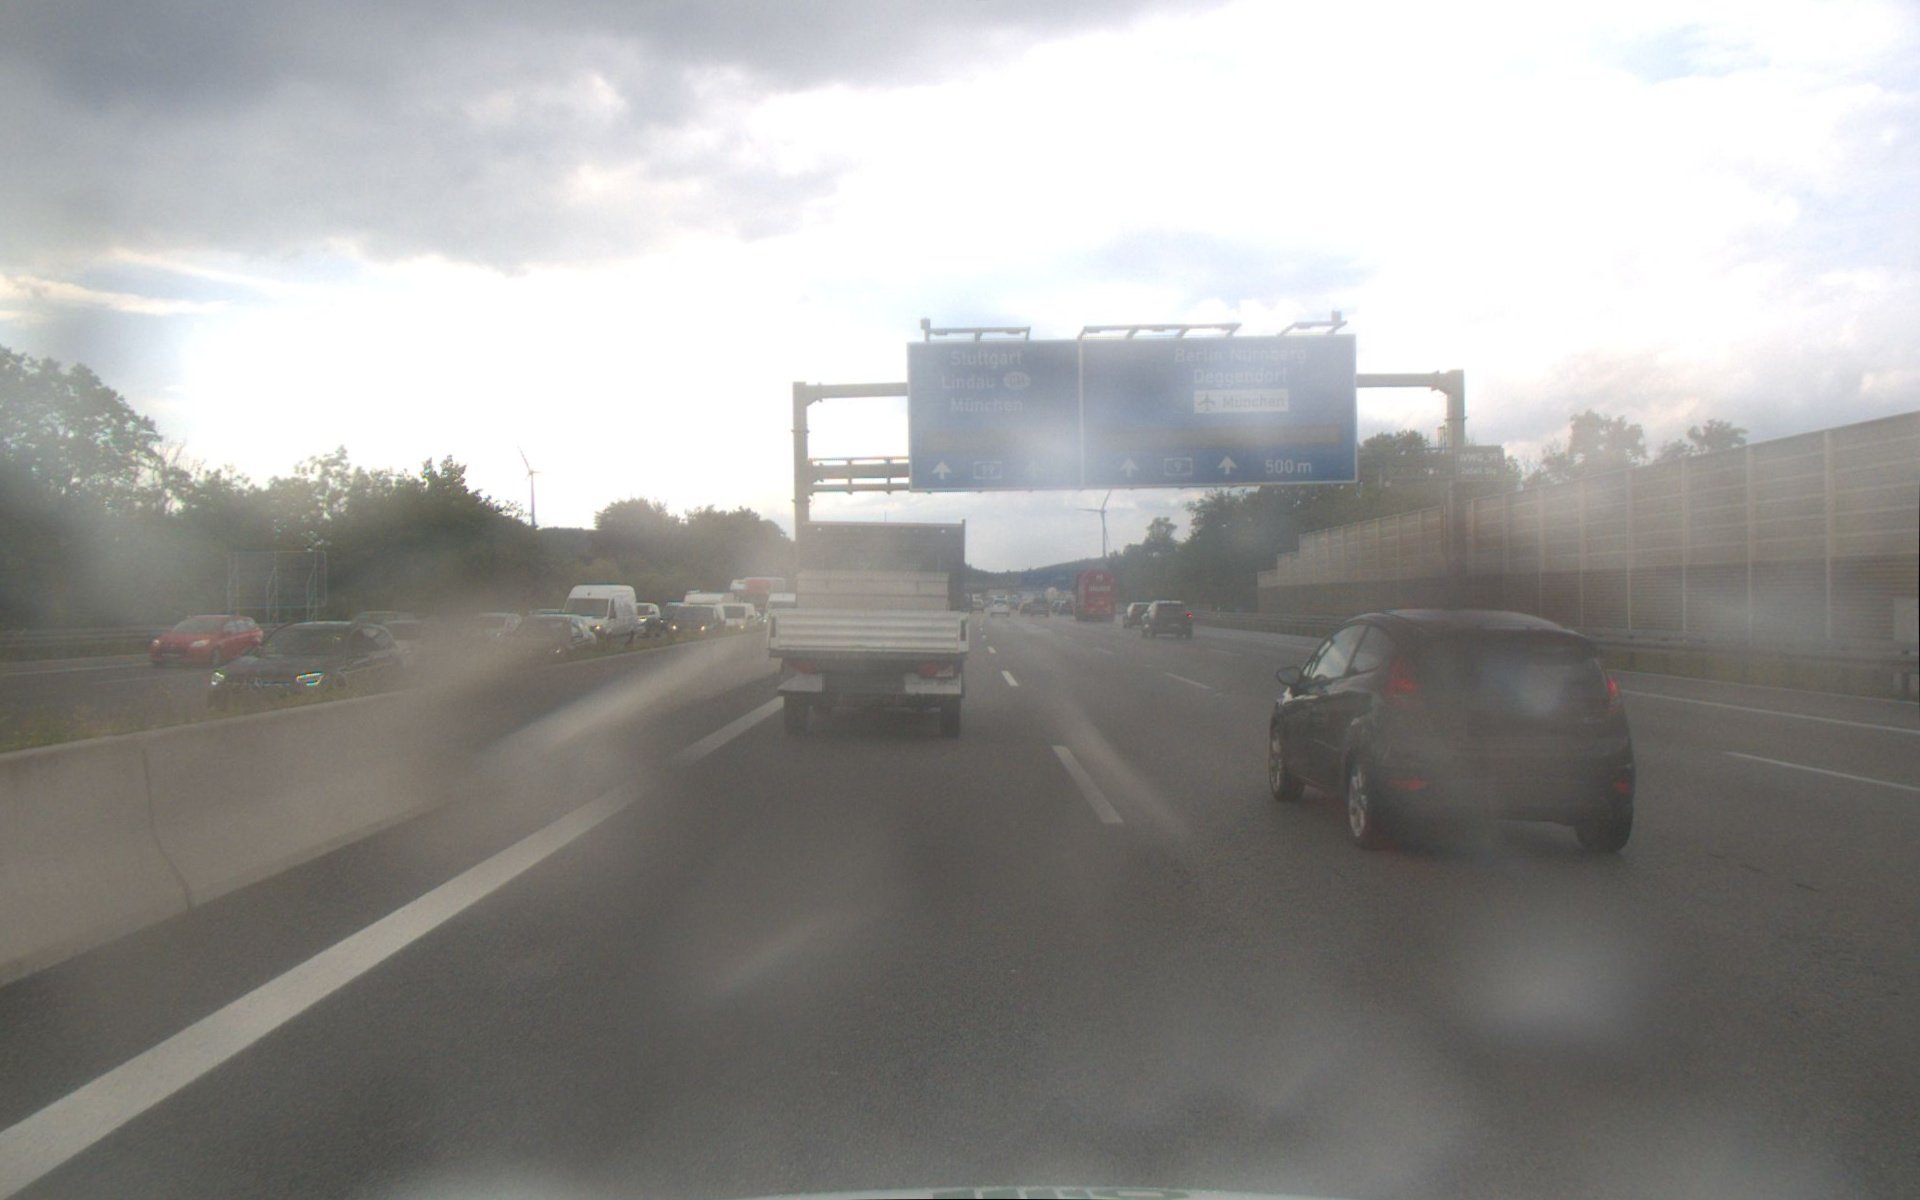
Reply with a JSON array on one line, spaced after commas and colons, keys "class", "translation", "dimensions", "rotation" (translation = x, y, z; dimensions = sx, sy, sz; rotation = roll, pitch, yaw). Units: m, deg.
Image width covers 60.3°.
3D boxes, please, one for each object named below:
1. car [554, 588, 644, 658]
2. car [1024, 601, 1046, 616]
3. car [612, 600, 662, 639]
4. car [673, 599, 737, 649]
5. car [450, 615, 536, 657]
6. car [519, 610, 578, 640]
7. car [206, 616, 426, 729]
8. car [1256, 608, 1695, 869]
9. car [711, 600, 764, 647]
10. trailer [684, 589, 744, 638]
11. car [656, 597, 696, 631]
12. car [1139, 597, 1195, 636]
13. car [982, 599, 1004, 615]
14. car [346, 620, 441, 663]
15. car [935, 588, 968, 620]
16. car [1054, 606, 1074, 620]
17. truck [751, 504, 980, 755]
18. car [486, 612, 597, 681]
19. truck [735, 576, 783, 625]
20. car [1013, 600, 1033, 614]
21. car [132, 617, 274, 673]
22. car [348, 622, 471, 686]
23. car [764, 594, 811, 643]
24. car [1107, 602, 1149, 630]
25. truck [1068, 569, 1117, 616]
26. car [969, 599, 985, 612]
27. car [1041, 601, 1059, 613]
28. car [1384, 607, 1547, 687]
[{"class": "car", "translation": [-14.671, 0.902, 67.645], "dimensions": [2.006, 2.699, 7.735], "rotation": [0, 0, 0]}, {"class": "car", "translation": [7.792, 0.892, 171.662], "dimensions": [1.928, 1.588, 4.431], "rotation": [0, 0, -2]}, {"class": "car", "translation": [-18.086, 1.055, 92.918], "dimensions": [1.942, 2.114, 4.477], "rotation": [0, 0, 0]}, {"class": "car", "translation": [-10.365, 0.941, 67.549], "dimensions": [1.781, 1.938, 5.423], "rotation": [0, 0, 0]}, {"class": "car", "translation": [-17.884, 1.347, 63.577], "dimensions": [1.942, 1.520, 4.913], "rotation": [0, 0, 0]}, {"class": "car", "translation": [-21.363, 1.281, 86.061], "dimensions": [1.942, 1.520, 4.477], "rotation": [0, 0, 0]}, {"class": "car", "translation": [-10.465, 1.106, 27.289], "dimensions": [1.688, 1.631, 4.913], "rotation": [1, 0, 0]}, {"class": "car", "translation": [3.262, 0.784, 11.377], "dimensions": [1.682, 1.442, 4.278], "rotation": [0, 0, 0]}, {"class": "car", "translation": [-10.408, 1.068, 77.770], "dimensions": [1.781, 2.114, 5.374], "rotation": [0, 0, 0]}, {"class": "trailer", "translation": [-14.164, 0.741, 95.498], "dimensions": [2.293, 2.699, 7.184], "rotation": [0, 0, 1]}, {"class": "car", "translation": [-18.121, 0.896, 105.648], "dimensions": [1.781, 2.114, 4.477], "rotation": [0, 0, 0]}, {"class": "car", "translation": [8.759, 0.681, 70.325], "dimensions": [1.844, 1.569, 4.433], "rotation": [0, 0, 1]}, {"class": "car", "translation": [3.349, 0.724, 167.969], "dimensions": [1.928, 1.588, 4.431], "rotation": [0, 0, -2]}, {"class": "car", "translation": [-21.544, 1.563, 63.124], "dimensions": [1.942, 1.520, 4.913], "rotation": [0, 0, 0]}, {"class": "car", "translation": [-0.463, 0.219, 90.192], "dimensions": [1.682, 1.652, 4.277], "rotation": [0, 1, -2]}, {"class": "car", "translation": [12.210, 1.550, 194.398], "dimensions": [1.928, 1.588, 4.431], "rotation": [0, 0, -2]}, {"class": "truck", "translation": [-0.957, 0.236, 20.060], "dimensions": [2.260, 2.482, 7.148], "rotation": [1, 1, 0]}, {"class": "car", "translation": [-10.782, 1.154, 42.935], "dimensions": [1.688, 1.631, 4.912], "rotation": [1, 0, -1]}, {"class": "truck", "translation": [-17.938, 0.036, 148.126], "dimensions": [2.740, 4.184, 12.294], "rotation": [0, 0, 0]}, {"class": "car", "translation": [7.389, 0.860, 194.444], "dimensions": [1.929, 1.588, 4.430], "rotation": [0, 0, -3]}, {"class": "car", "translation": [-22.151, 1.284, 48.650], "dimensions": [1.942, 1.520, 4.913], "rotation": [0, 0, 0]}, {"class": "car", "translation": [-14.531, 1.381, 43.954], "dimensions": [1.688, 1.520, 4.912], "rotation": [1, 0, -1]}, {"class": "car", "translation": [-10.055, 1.051, 96.946], "dimensions": [1.982, 2.725, 7.310], "rotation": [0, 0, 0]}, {"class": "car", "translation": [9.837, 0.952, 97.040], "dimensions": [1.845, 1.588, 4.431], "rotation": [0, 0, -2]}, {"class": "truck", "translation": [10.974, -0.651, 138.081], "dimensions": [3.088, 3.664, 12.700], "rotation": [1, 1, 0]}, {"class": "car", "translation": [2.198, 0.733, 220.544], "dimensions": [1.928, 1.588, 4.431], "rotation": [0, 0, -2]}, {"class": "car", "translation": [11.795, 0.950, 217.929], "dimensions": [1.928, 1.588, 4.431], "rotation": [0, 0, -2]}, {"class": "car", "translation": [9.799, 0.875, 32.427], "dimensions": [1.910, 1.443, 4.232], "rotation": [0, 0, 0]}]
